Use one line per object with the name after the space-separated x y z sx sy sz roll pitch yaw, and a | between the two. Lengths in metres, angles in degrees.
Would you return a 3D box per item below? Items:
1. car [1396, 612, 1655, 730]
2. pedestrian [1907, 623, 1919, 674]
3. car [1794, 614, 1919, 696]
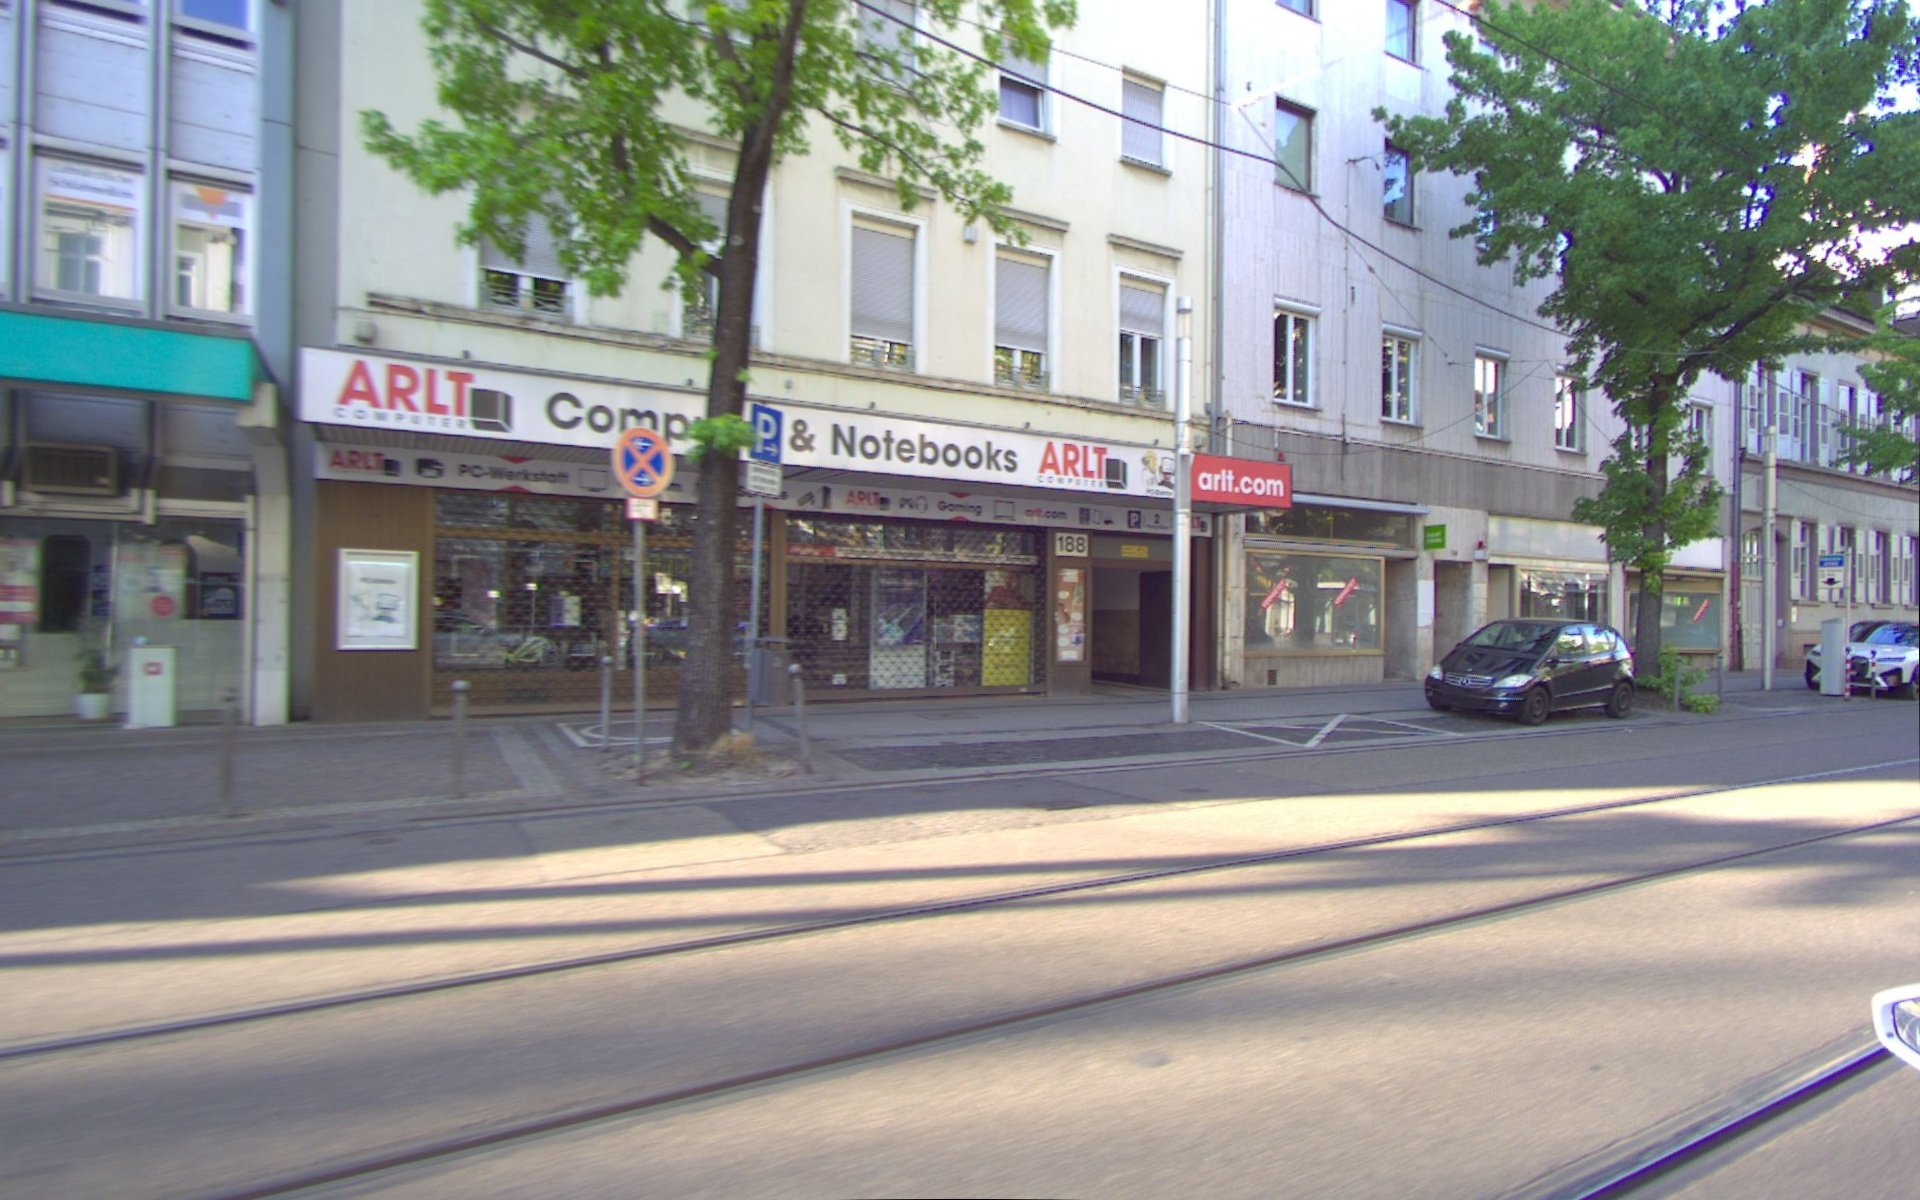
9.554 1.137 16.961 3.951 1.662 1.953 2 2 -29 | car
32.370 1.642 33.706 0.640 1.702 0.671 1 0 -30 | pedestrian
22.110 1.269 23.808 4.754 1.662 1.953 2 2 -29 | car
